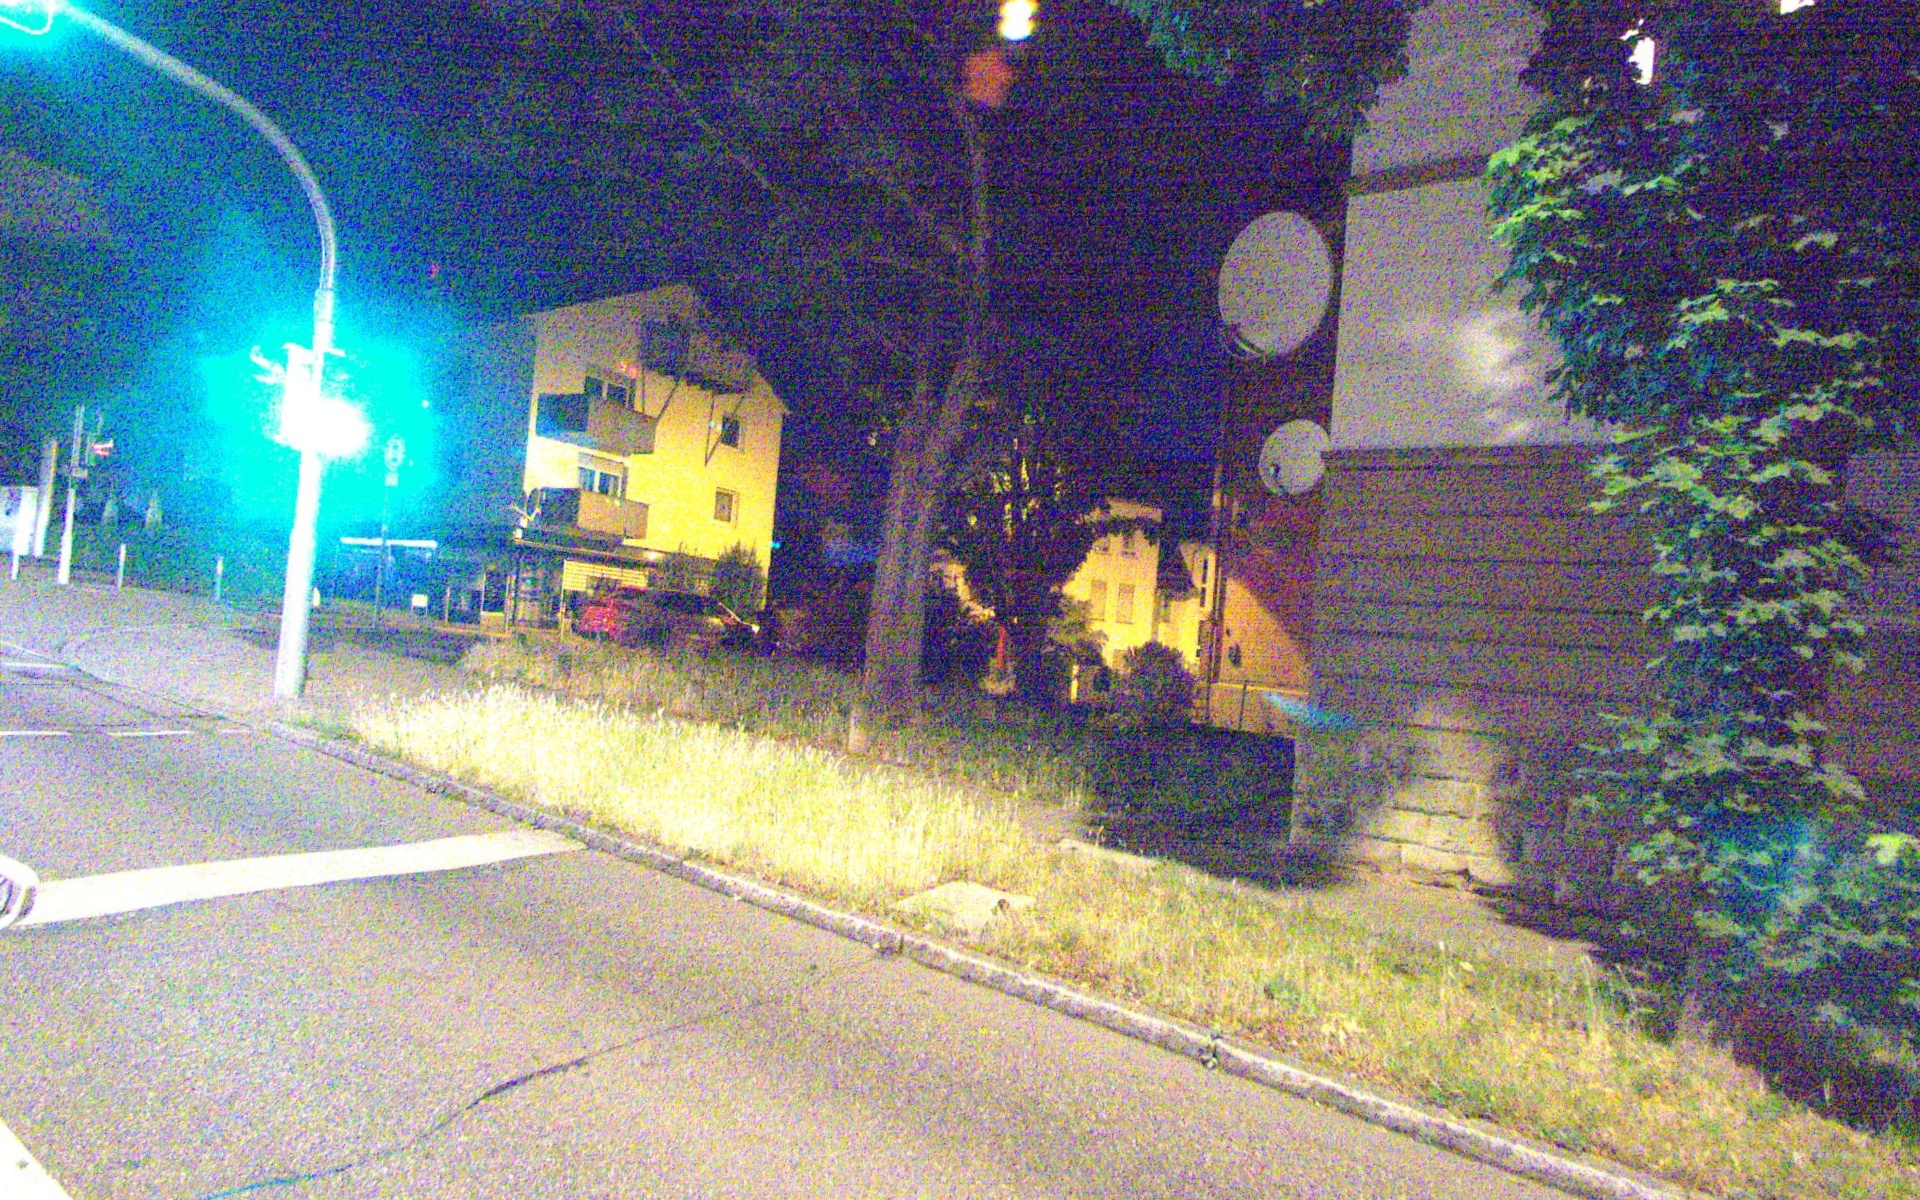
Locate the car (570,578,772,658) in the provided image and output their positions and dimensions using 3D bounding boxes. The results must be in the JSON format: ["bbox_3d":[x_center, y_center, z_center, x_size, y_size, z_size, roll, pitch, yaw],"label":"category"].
[{"bbox_3d":[-6.554,0.452,23.185,1.740,1.295,4.131,6,-3,39],"label":"car"}]
